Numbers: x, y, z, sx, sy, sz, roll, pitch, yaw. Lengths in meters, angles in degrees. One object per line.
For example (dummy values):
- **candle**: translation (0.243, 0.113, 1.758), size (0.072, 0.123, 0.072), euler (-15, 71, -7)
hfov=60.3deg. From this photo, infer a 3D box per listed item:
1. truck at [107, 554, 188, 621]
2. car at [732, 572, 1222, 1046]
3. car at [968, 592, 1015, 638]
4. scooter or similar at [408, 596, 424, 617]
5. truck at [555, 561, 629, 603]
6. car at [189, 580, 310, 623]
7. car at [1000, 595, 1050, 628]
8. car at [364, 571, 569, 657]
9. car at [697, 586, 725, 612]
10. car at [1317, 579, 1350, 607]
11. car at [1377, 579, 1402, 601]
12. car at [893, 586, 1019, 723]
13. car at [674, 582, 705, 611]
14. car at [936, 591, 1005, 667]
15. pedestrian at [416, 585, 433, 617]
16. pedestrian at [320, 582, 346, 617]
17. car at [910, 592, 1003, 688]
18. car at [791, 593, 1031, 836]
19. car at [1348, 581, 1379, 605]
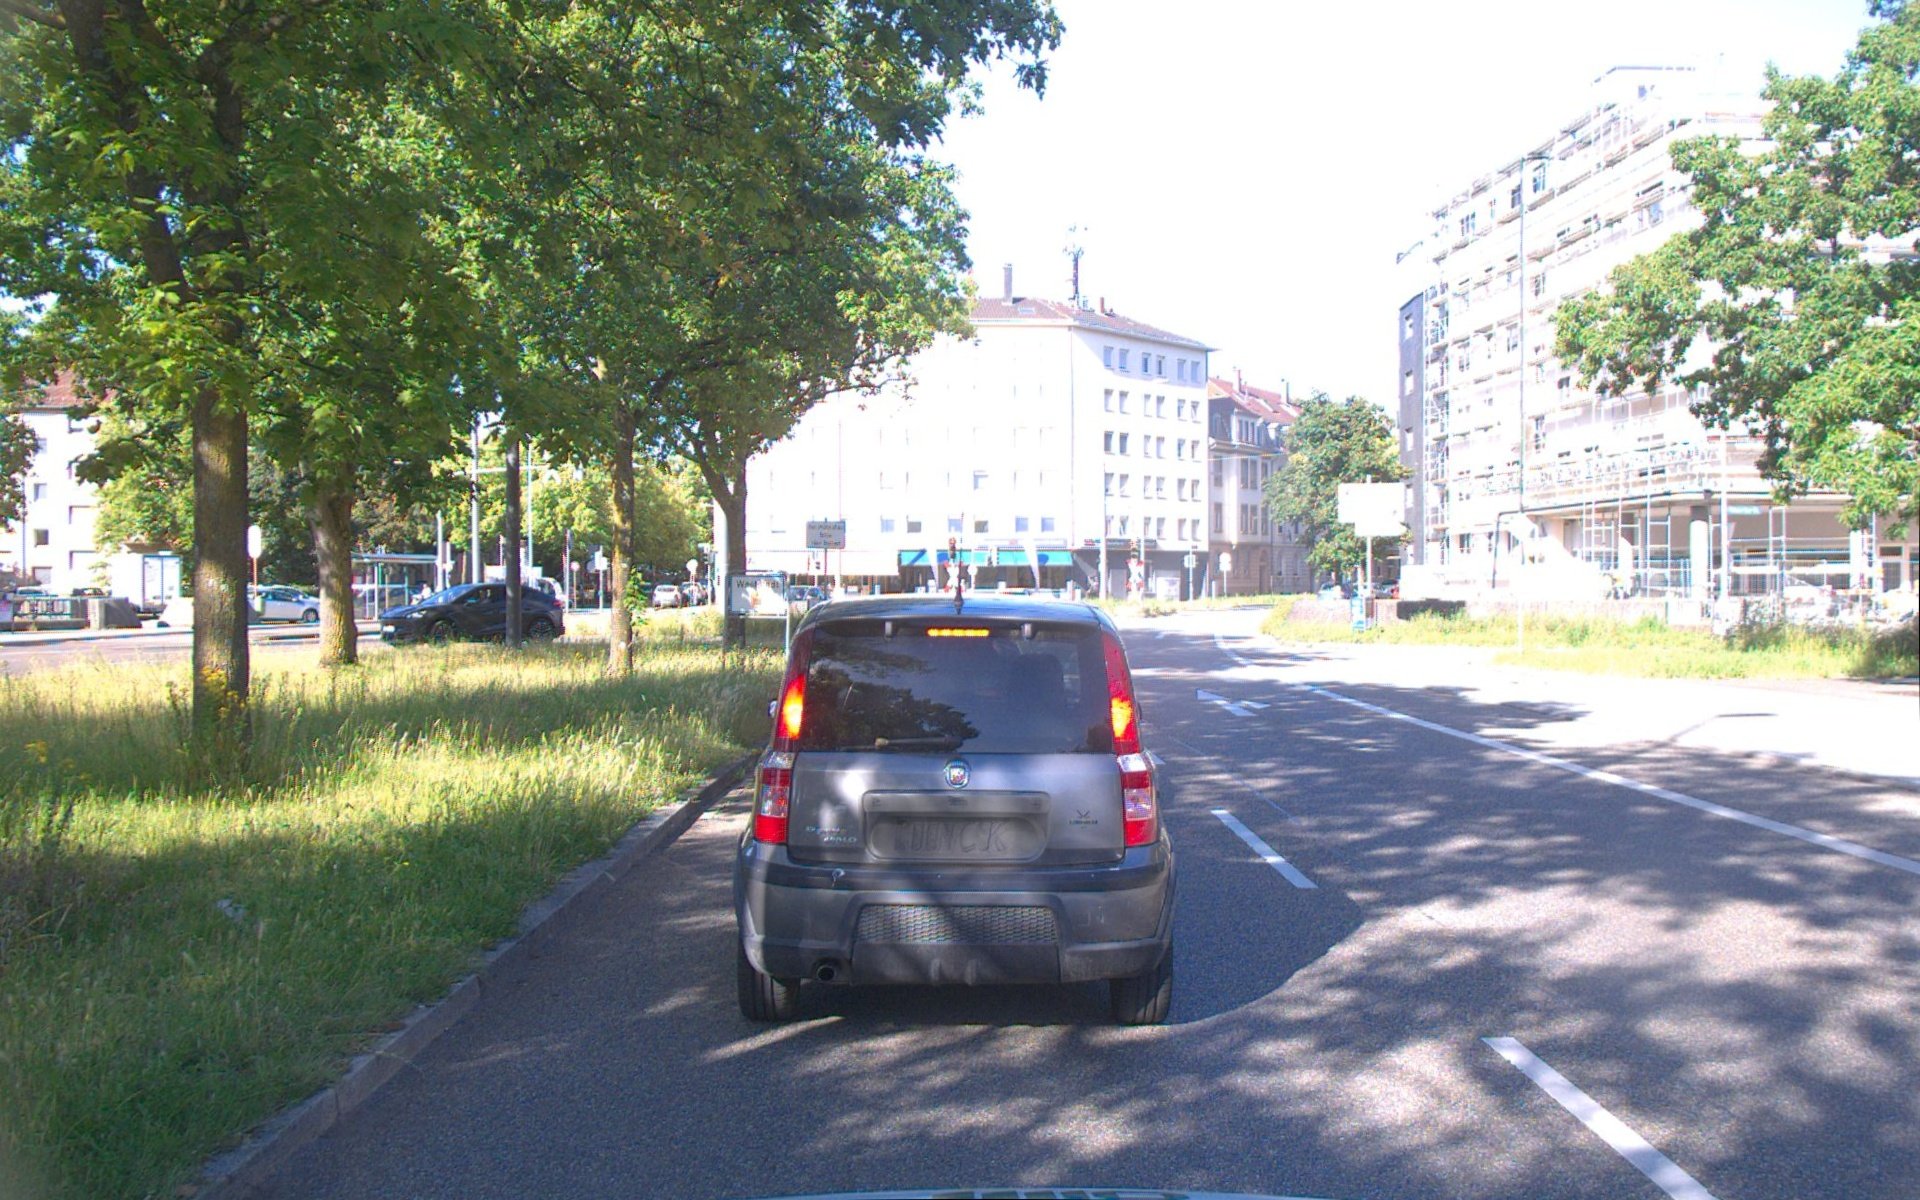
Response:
- **truck**: translation (-35.740, -0.560, 72.689), size (3.932, 2.854, 1.987), euler (0, 1, 44)
- **car**: translation (0.031, 0.659, 7.410), size (1.595, 1.534, 3.999), euler (0, 1, -1)
- **car**: translation (0.920, 0.440, 49.604), size (1.328, 1.304, 2.875), euler (0, 1, -1)
- **scooter or similar**: translation (-24.681, 0.271, 75.005), size (0.411, 0.943, 0.534), euler (0, 0, 25)
- **truck**: translation (-28.352, -1.364, 127.367), size (5.371, 3.224, 2.341), euler (0, 0, 28)
- **car**: translation (-29.951, 0.042, 69.783), size (1.961, 1.713, 4.302), euler (0, 1, 38)
- **car**: translation (2.287, 0.399, 57.700), size (1.118, 1.083, 2.723), euler (0, 1, 17)
- **car**: translation (-11.871, 0.281, 39.965), size (4.424, 1.675, 1.805), euler (-4, 7, -42)
- **car**: translation (-20.032, -0.120, 133.003), size (1.954, 2.049, 3.996), euler (0, 1, -5)
- **car**: translation (20.509, -0.396, 90.709), size (1.646, 1.475, 3.574), euler (0, 1, 15)
- **car**: translation (28.995, -0.695, 111.668), size (1.495, 1.495, 3.289), euler (0, 1, 17)
- **car**: translation (-0.071, 0.603, 20.624), size (1.434, 1.534, 3.504), euler (0, 1, -1)
- **car**: translation (-20.148, -0.275, 123.283), size (1.954, 2.049, 3.996), euler (0, 1, -5)
- **car**: translation (0.178, 0.553, 33.859), size (1.328, 1.475, 3.265), euler (0, 0, -1)
- **pedestrian**: translation (-24.439, 0.043, 75.532), size (0.407, 1.415, 0.626), euler (0, 0, 26)
- **pedestrian**: translation (-29.296, -0.015, 77.244), size (0.904, 1.636, 0.794), euler (0, 0, 38)
- **car**: translation (-0.080, 0.607, 27.255), size (1.434, 1.449, 3.381), euler (0, 1, -1)
- **car**: translation (-0.319, 0.680, 11.626), size (1.434, 1.425, 3.393), euler (0, 1, -1)
- **car**: translation (23.014, -0.398, 94.239), size (1.495, 1.337, 3.289), euler (0, 1, 17)
